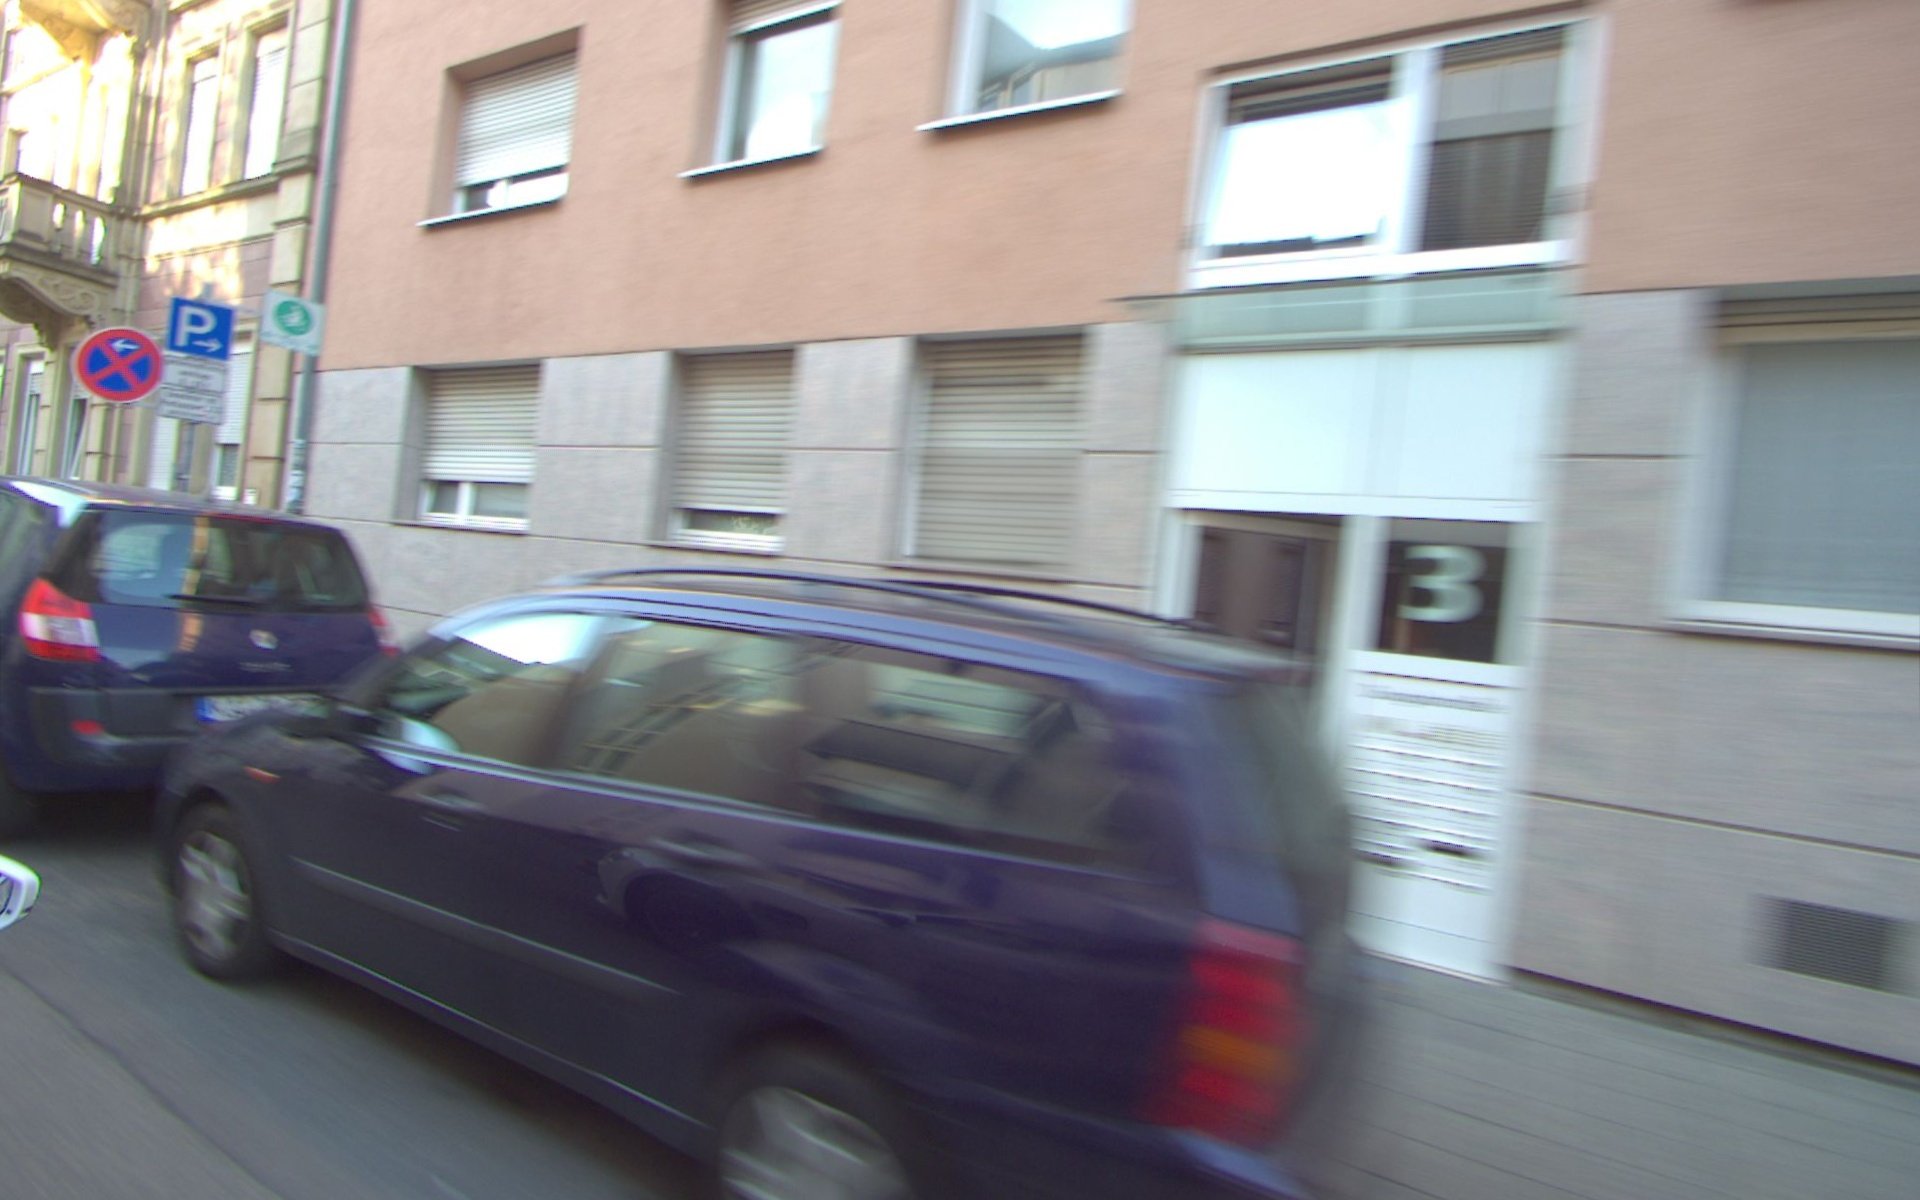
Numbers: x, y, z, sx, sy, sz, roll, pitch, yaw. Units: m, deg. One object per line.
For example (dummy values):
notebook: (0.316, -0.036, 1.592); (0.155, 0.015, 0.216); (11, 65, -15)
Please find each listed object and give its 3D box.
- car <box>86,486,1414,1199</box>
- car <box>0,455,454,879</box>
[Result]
car: (-0.942, 0.596, 3.370); (4.212, 1.532, 1.692); (6, -1, 31)
car: (-4.944, 0.156, 5.619); (3.985, 1.644, 1.693); (6, -1, 29)
